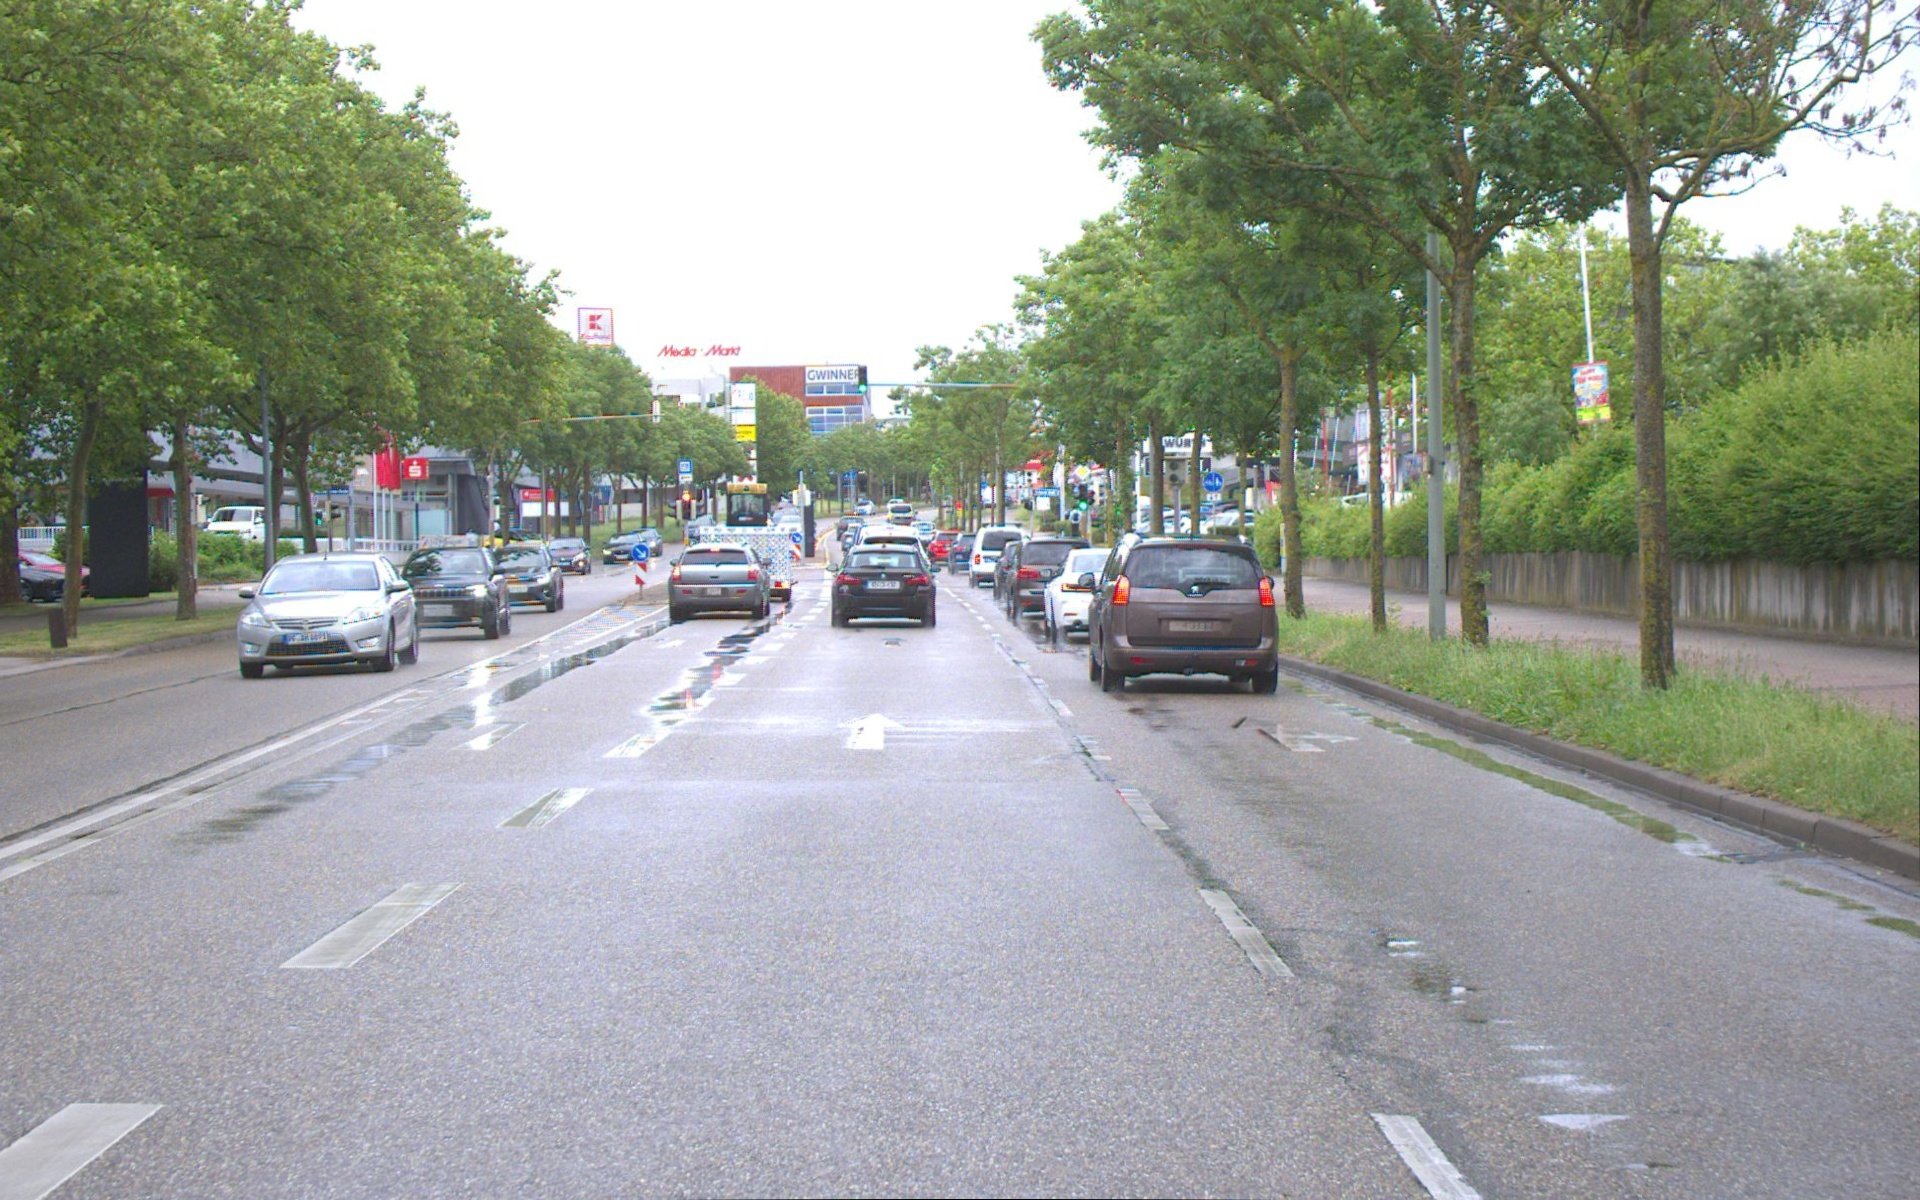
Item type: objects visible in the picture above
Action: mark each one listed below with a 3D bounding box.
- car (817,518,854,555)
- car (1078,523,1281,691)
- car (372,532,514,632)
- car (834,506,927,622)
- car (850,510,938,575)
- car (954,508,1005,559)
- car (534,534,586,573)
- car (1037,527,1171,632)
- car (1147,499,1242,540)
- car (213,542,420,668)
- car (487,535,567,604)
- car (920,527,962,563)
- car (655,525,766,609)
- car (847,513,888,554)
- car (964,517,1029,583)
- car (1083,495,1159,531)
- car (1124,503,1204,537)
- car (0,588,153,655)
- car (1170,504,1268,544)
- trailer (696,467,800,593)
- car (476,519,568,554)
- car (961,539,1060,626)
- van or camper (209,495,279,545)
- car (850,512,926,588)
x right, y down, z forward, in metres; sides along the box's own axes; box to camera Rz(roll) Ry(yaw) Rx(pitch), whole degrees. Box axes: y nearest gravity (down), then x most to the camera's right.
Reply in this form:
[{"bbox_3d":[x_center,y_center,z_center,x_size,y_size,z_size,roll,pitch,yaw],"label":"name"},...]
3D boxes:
[{"bbox_3d":[-7.121,-3.614,196.485,1.993,2.007,4.000,1,0,-1],"label":"car"},{"bbox_3d":[2.226,0.020,35.941,1.726,1.619,4.471,-1,1,-1],"label":"car"},{"bbox_3d":[-8.534,-0.325,57.055,1.762,1.526,3.858,-3,1,-1],"label":"car"},{"bbox_3d":[-1.404,-0.670,62.092,1.594,2.007,4.346,-1,1,-1],"label":"car"},{"bbox_3d":[-1.506,-1.301,76.784,1.682,1.372,4.001,-1,1,-5],"label":"car"},{"bbox_3d":[0.658,-2.289,119.044,1.685,1.678,3.403,1,0,-1],"label":"car"},{"bbox_3d":[-15.682,-1.840,134.936,1.709,1.460,4.086,-2,1,-3],"label":"car"},{"bbox_3d":[2.209,-0.347,53.823,1.801,1.539,4.620,1,1,-1],"label":"car"},{"bbox_3d":[10.638,-3.661,156.117,4.016,1.657,1.982,-5,3,-41],"label":"car"},{"bbox_3d":[-7.972,0.017,42.969,1.993,1.424,4.686,-2,1,-4],"label":"car"},{"bbox_3d":[-9.678,-0.701,77.102,1.666,1.457,4.182,-2,1,-6],"label":"car"},{"bbox_3d":[-0.805,-2.282,142.524,1.695,1.438,3.989,-1,1,-1],"label":"car"},{"bbox_3d":[-4.932,-0.685,68.560,1.907,1.573,4.881,-1,1,-1],"label":"car"},{"bbox_3d":[-4.675,-3.374,174.176,1.993,2.007,4.000,1,0,-1],"label":"car"},{"bbox_3d":[1.063,-1.500,102.177,1.782,1.860,4.000,-1,1,-1],"label":"car"},{"bbox_3d":[8.931,-4.856,191.327,4.111,1.898,1.800,-1,2,0],"label":"car"},{"bbox_3d":[9.603,-3.787,161.846,3.589,1.530,1.643,-2,2,-41],"label":"car"},{"bbox_3d":[-24.146,0.571,92.829,4.217,1.590,2.000,-3,2,-24],"label":"car"},{"bbox_3d":[10.888,-3.197,144.164,1.930,1.571,4.278,0,2,40],"label":"car"},{"bbox_3d":[-5.111,-1.698,83.615,2.372,2.887,5.546,-1,1,-3],"label":"trailer"},{"bbox_3d":[-20.715,-2.999,162.421,3.994,1.546,1.896,0,2,33],"label":"car"},{"bbox_3d":[0.958,-0.380,67.915,1.801,1.581,4.451,1,2,-1],"label":"car"},{"bbox_3d":[-29.269,-3.240,140.658,1.993,1.960,4.789,1,0,-2],"label":"van or camper"},{"bbox_3d":[-1.960,-1.348,93.433,1.993,2.007,4.000,1,0,-1],"label":"car"}]
